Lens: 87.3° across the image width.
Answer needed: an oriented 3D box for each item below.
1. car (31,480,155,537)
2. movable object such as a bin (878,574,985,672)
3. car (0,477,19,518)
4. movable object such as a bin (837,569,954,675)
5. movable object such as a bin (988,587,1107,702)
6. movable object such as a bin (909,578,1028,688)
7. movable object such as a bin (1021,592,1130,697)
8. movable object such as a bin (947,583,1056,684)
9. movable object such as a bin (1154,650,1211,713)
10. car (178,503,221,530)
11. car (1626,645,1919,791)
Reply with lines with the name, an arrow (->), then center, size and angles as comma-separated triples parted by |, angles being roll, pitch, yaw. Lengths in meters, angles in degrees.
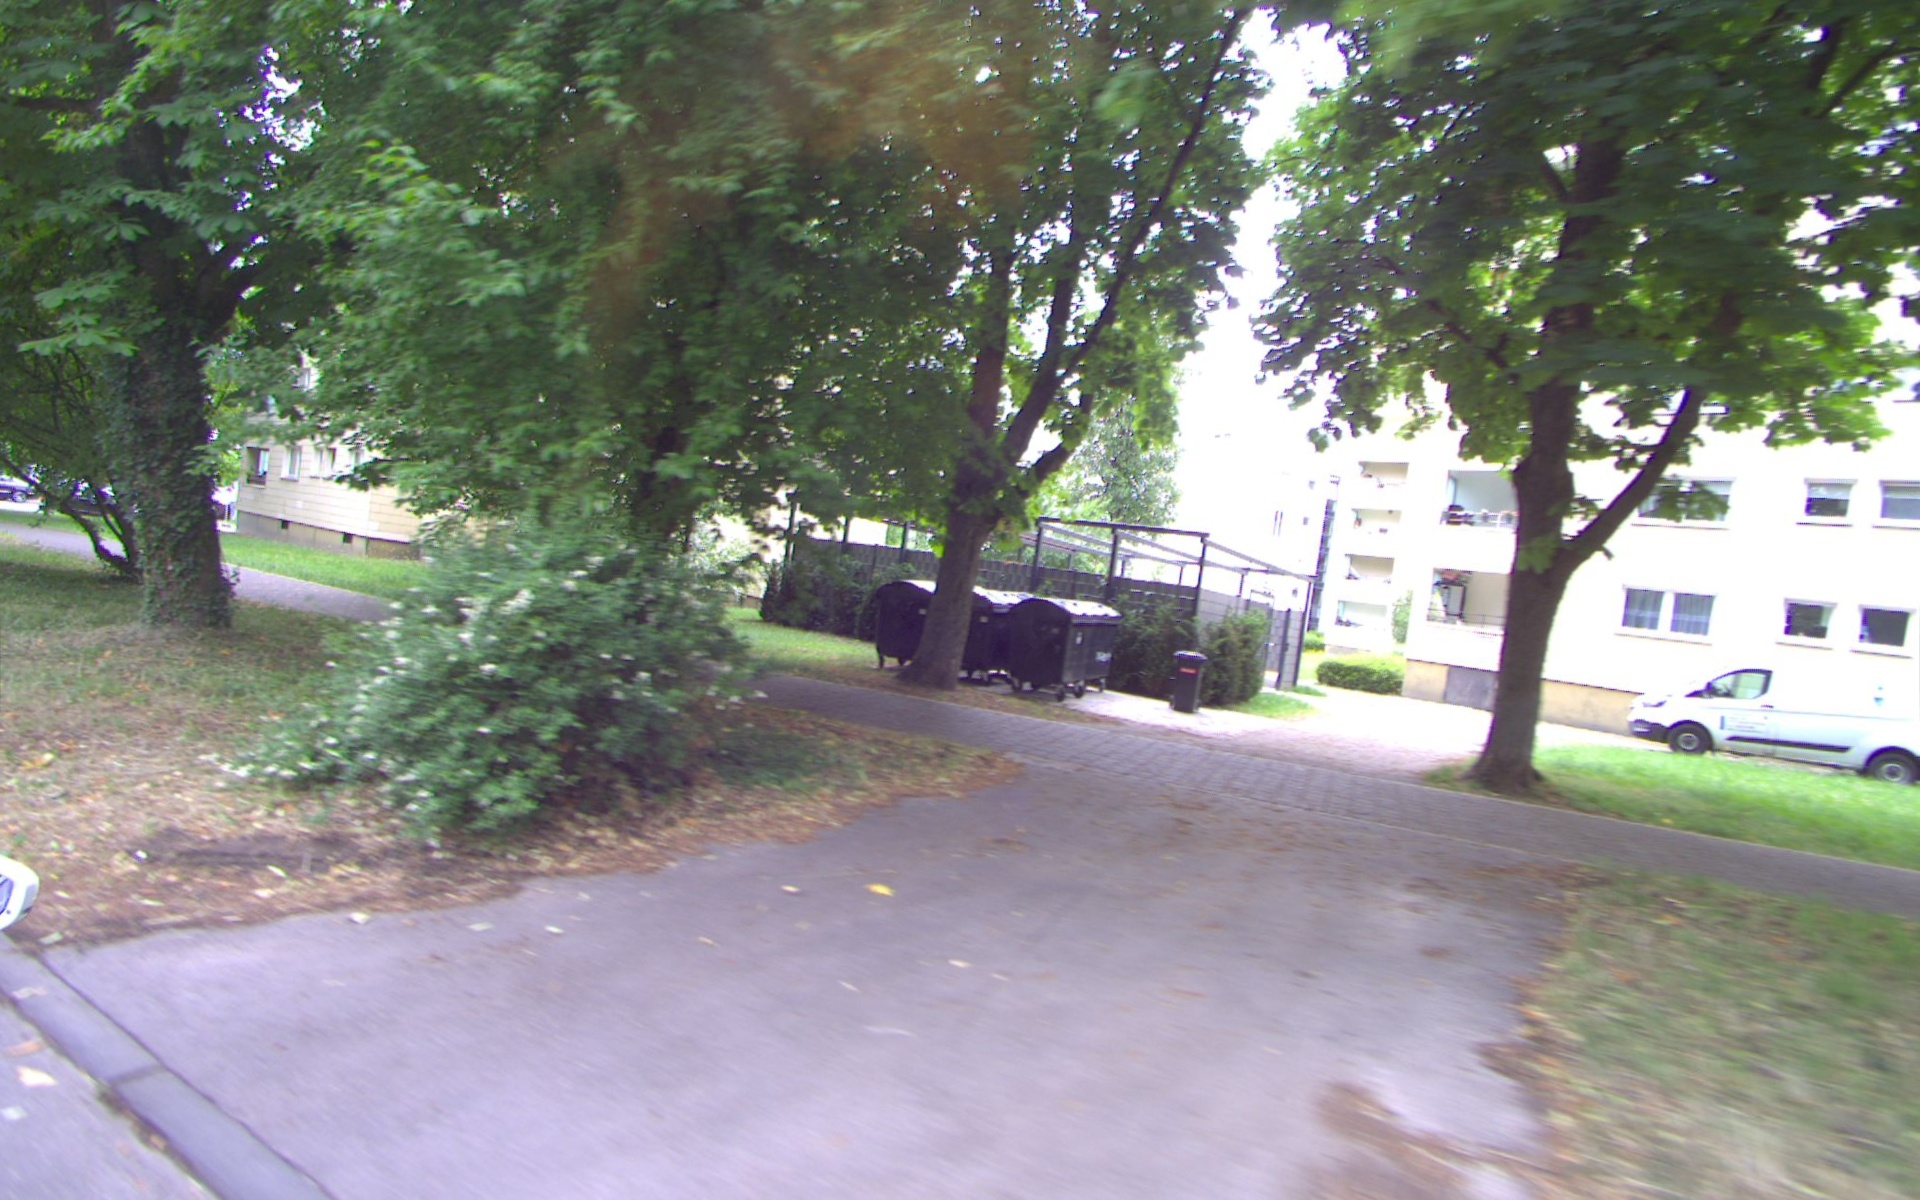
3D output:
car -> -39.004, -4.123, 45.382 | 3.970, 1.747, 1.780 | 10, 1, -38
movable object such as a bin -> -0.481, 0.404, 17.801 | 1.291, 1.521, 1.329 | 7, 2, 25
car -> -42.339, -4.645, 42.156 | 1.773, 1.576, 3.985 | 11, 1, 39
movable object such as a bin -> -1.034, 0.354, 16.468 | 1.291, 1.521, 1.329 | 7, 2, 25
movable object such as a bin -> 1.352, 0.664, 15.334 | 1.291, 1.521, 1.329 | 7, 2, 25
movable object such as a bin -> 0.151, 0.514, 15.906 | 1.291, 1.521, 1.329 | 7, 2, 25
movable object such as a bin -> 1.925, 0.723, 16.673 | 1.291, 1.521, 1.329 | 7, 2, 25
movable object such as a bin -> 0.728, 0.562, 17.249 | 1.291, 1.521, 1.329 | 7, 2, 25
movable object such as a bin -> 3.500, 1.270, 15.818 | 0.657, 0.889, 0.600 | 7, 2, 25
car -> -52.060, -5.750, 68.846 | 2.074, 1.529, 3.955 | 6, 0, -40
car -> 15.646, 2.159, 18.980 | 4.889, 1.867, 2.085 | 9, 2, 36
